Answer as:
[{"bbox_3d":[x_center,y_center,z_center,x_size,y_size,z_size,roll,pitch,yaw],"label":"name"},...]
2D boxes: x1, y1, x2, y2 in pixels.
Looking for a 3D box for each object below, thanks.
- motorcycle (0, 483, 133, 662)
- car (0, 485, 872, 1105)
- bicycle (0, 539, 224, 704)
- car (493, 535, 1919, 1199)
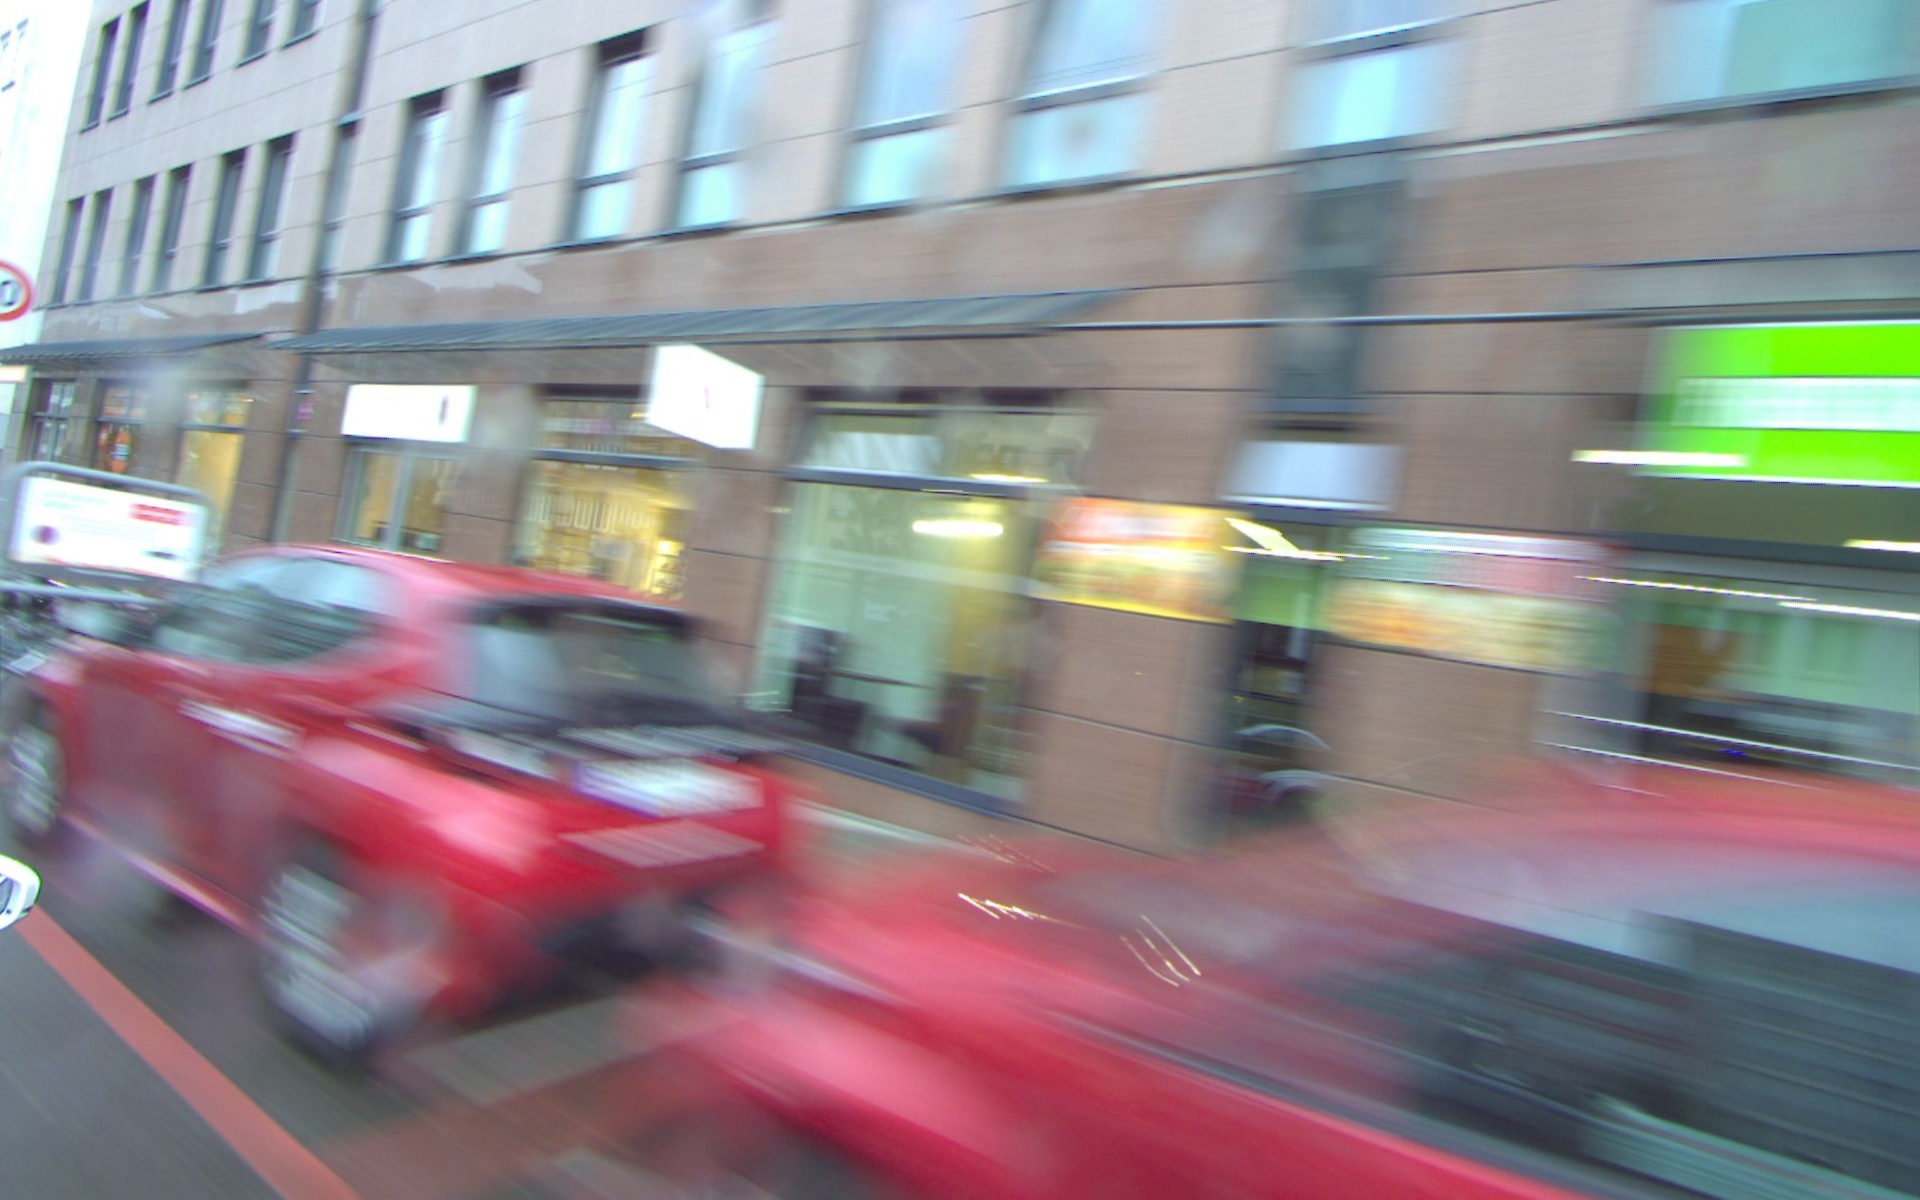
[{"bbox_3d":[-8.542,-0.321,8.619,2.075,1.423,0.790,10,-3,-38],"label":"motorcycle"},{"bbox_3d":[-2.465,0.450,4.316,3.805,1.479,1.700,6,-1,33],"label":"car"},{"bbox_3d":[-6.338,0.153,7.028,0.454,1.042,1.790,7,-3,33],"label":"bicycle"},{"bbox_3d":[1.085,0.846,1.774,3.807,1.497,1.700,6,-1,35],"label":"car"}]
